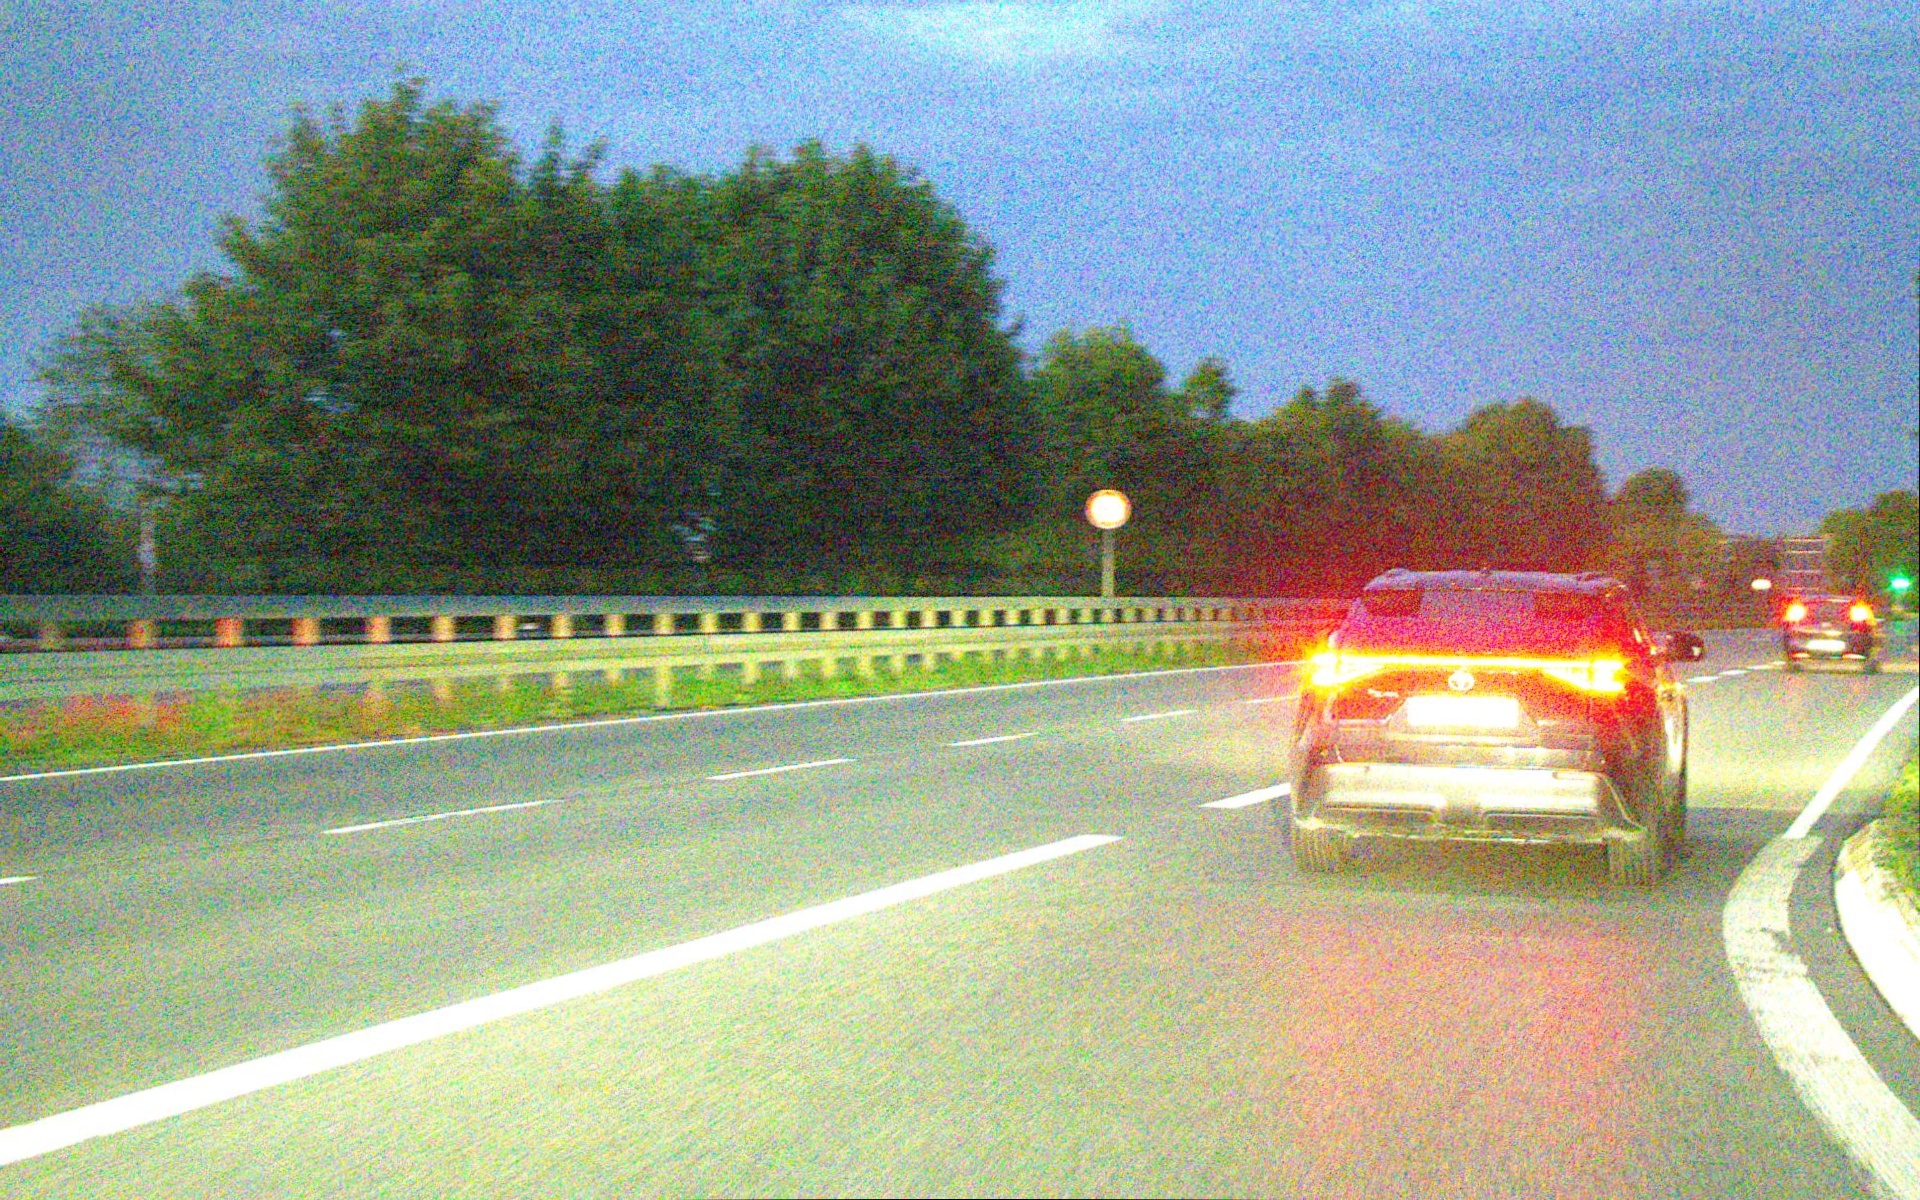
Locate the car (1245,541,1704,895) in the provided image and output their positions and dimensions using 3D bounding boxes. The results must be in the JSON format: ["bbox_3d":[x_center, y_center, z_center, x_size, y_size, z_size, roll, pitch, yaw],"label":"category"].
[{"bbox_3d":[2.931,0.545,18.712,1.902,1.614,4.553,2,1,15],"label":"car"}]

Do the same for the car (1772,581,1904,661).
[{"bbox_3d":[16.899,0.388,66.051,1.755,1.448,4.427,1,0,23],"label":"car"}]
